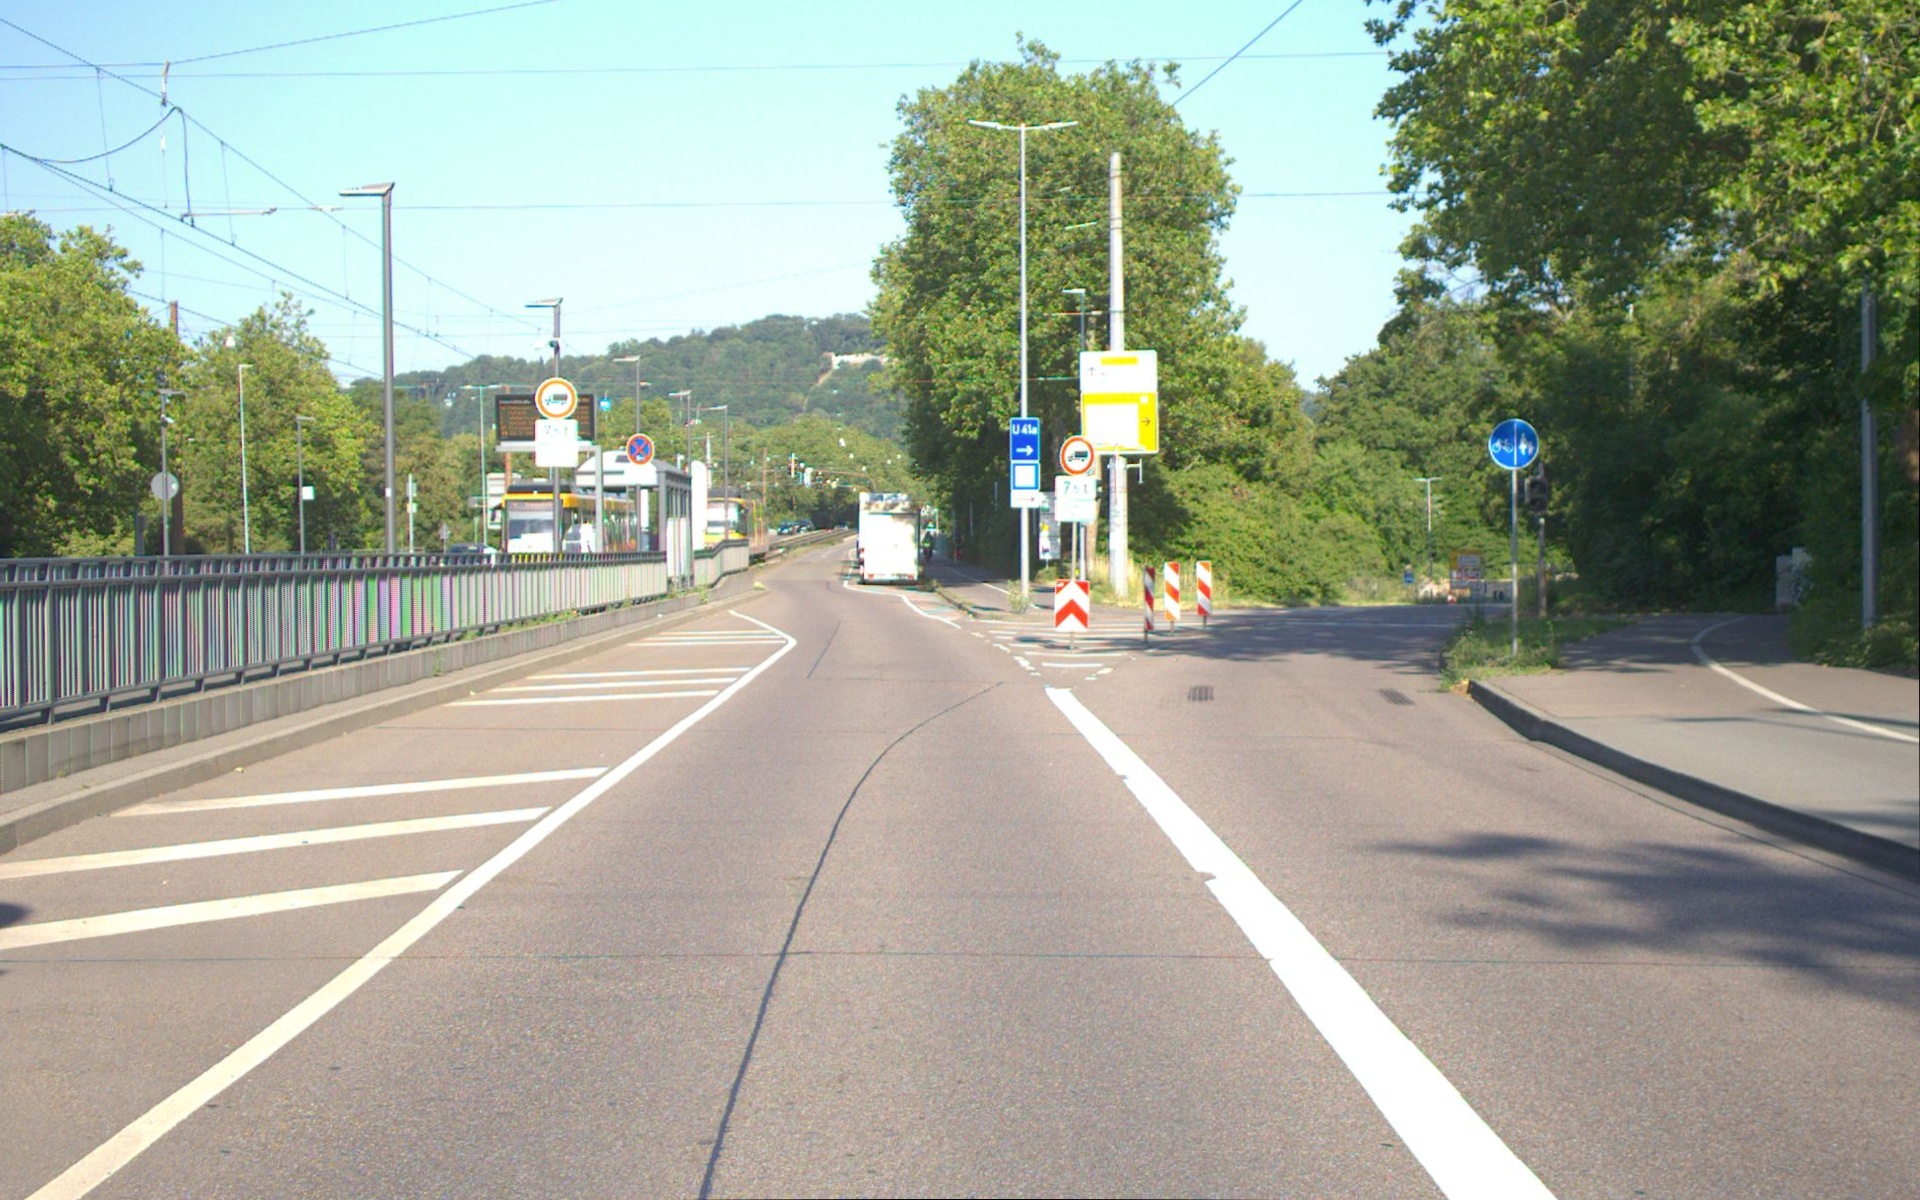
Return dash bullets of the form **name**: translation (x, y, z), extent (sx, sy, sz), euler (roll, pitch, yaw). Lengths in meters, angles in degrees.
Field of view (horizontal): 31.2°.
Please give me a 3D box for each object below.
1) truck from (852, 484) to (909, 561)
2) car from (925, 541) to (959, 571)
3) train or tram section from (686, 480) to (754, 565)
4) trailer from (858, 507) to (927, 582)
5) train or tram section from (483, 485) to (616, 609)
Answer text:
- **truck**: translation (-4.095, -3.966, 175.488), extent (2.741, 3.770, 10.090), euler (1, 1, -2)
- **car**: translation (-0.875, -2.172, 168.210), extent (1.653, 1.432, 3.777), euler (0, 1, 0)
- **train or tram section**: translation (-12.176, -3.954, 175.351), extent (2.721, 4.077, 13.617), euler (-1, 1, -1)
- **trailer**: translation (-2.476, -2.080, 127.692), extent (2.251, 2.685, 5.947), euler (0, 1, 2)
- **train or tram section**: translation (-14.163, -1.849, 119.837), extent (2.827, 3.992, 15.876), euler (1, 1, -1)
